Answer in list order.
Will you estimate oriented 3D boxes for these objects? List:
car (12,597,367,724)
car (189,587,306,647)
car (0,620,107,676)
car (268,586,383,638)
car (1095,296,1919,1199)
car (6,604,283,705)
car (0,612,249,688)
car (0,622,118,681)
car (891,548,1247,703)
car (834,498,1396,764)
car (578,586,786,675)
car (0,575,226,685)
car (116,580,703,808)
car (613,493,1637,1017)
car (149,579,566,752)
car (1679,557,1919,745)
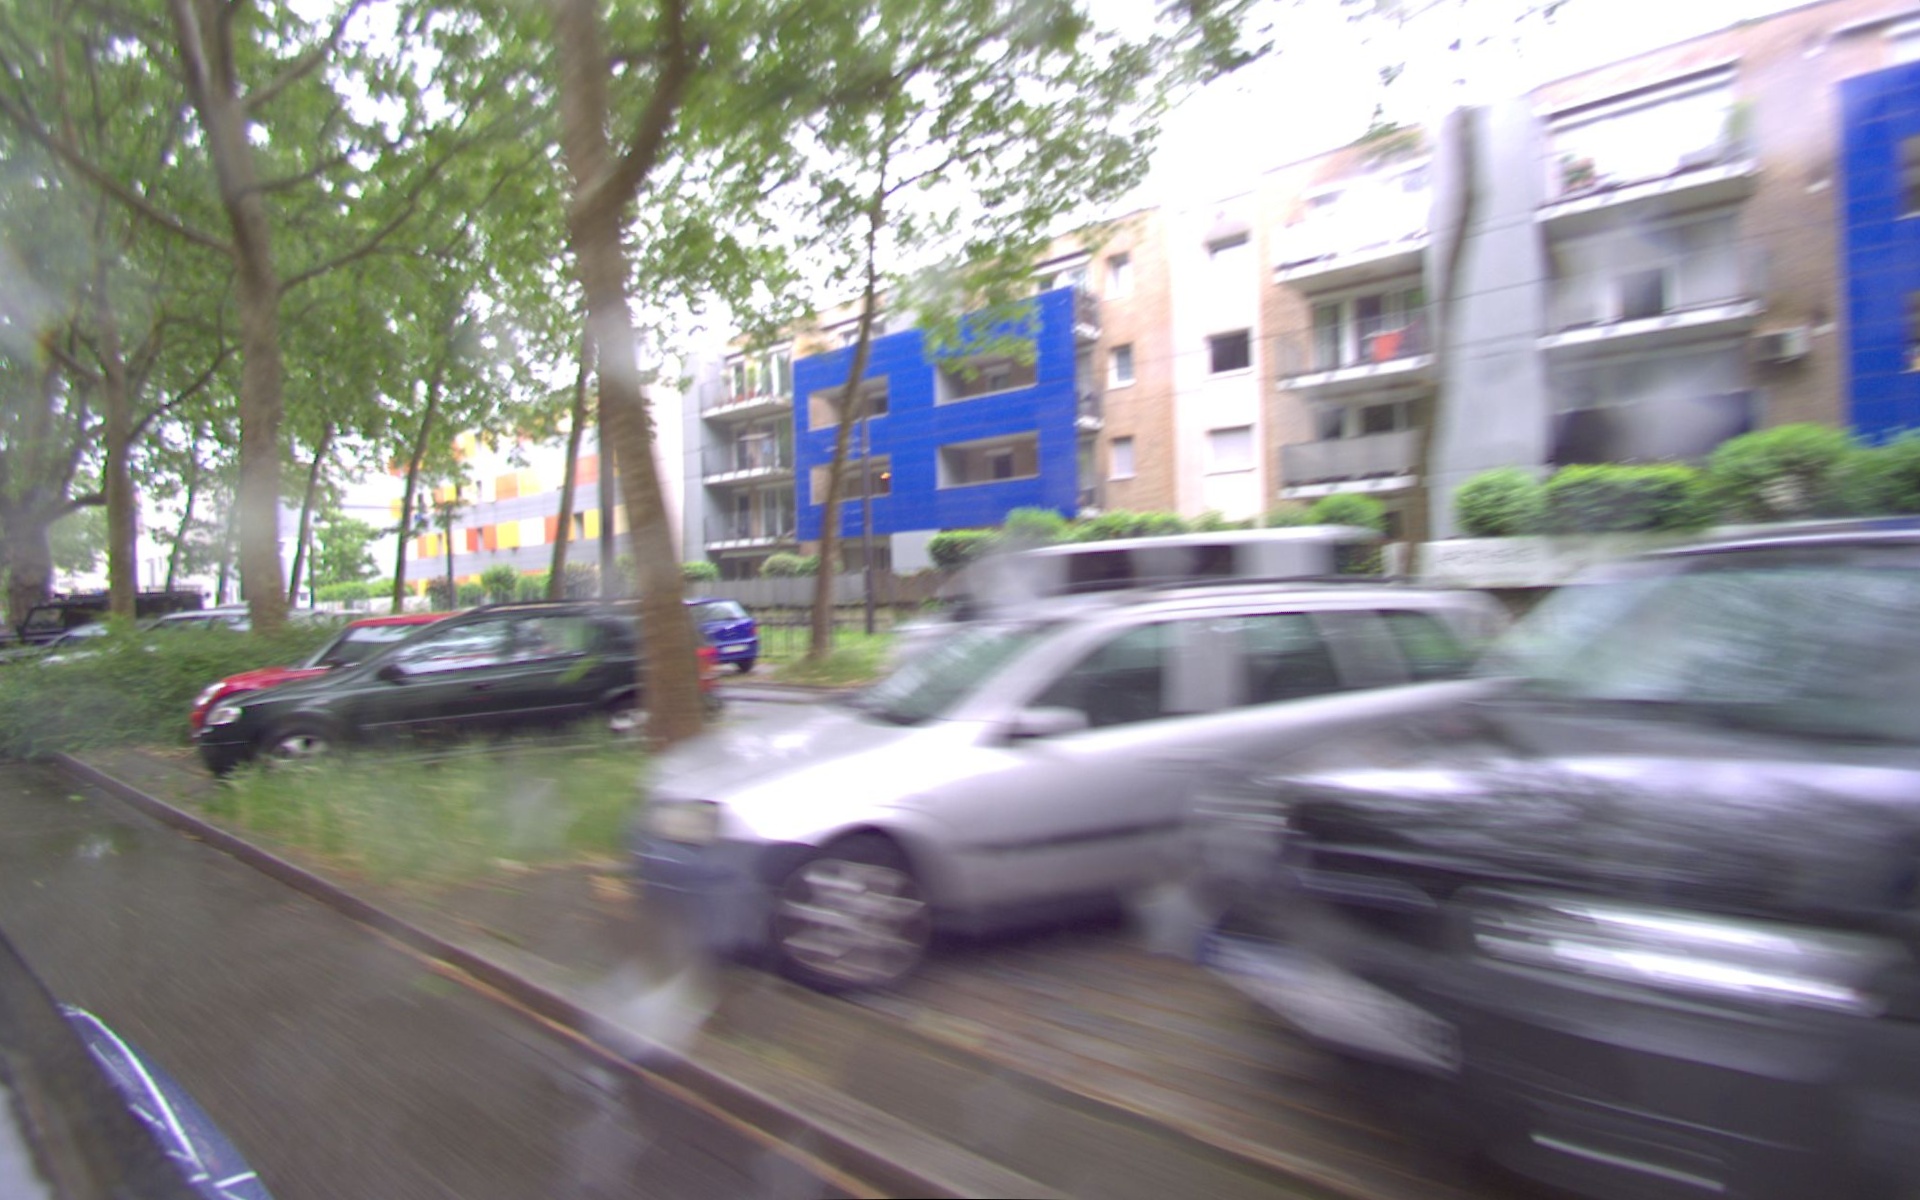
[{"bbox_3d":[-11.675,0.837,15.721,3.995,1.549,1.841,-3,1,-24],"label":"car"},{"bbox_3d":[-27.340,0.658,38.777,5.425,2.012,2.035,-1,3,37],"label":"car"},{"bbox_3d":[-27.289,1.389,28.999,3.976,1.445,1.787,-2,1,-24],"label":"car"},{"bbox_3d":[-20.672,0.395,32.893,4.211,1.545,1.885,-1,2,39],"label":"car"},{"bbox_3d":[2.789,0.420,2.816,4.342,1.672,1.936,-2,1,-21],"label":"car"},{"bbox_3d":[-13.846,0.863,17.446,3.451,1.478,1.647,-2,1,-29],"label":"car"},{"bbox_3d":[-17.888,1.018,21.182,4.579,1.335,1.853,-2,1,-22],"label":"car"},{"bbox_3d":[-25.367,1.405,27.464,3.443,1.447,1.787,-2,1,-22],"label":"car"},{"bbox_3d":[1.353,0.288,13.644,4.417,1.753,1.885,-1,2,39],"label":"car"},{"bbox_3d":[1.327,0.242,10.065,5.152,2.014,2.019,-1,2,38],"label":"car"},{"bbox_3d":[-5.610,0.573,20.200,4.211,1.545,1.885,-1,2,39],"label":"car"},{"bbox_3d":[-19.929,0.643,23.201,4.580,2.300,2.018,-2,1,-20],"label":"car"},{"bbox_3d":[-4.581,0.675,9.049,4.158,1.490,1.749,-3,1,-22],"label":"car"},{"bbox_3d":[0.677,0.472,4.763,4.342,1.658,1.878,0,0,-18],"label":"car"},{"bbox_3d":[-6.332,0.615,11.124,3.591,1.490,1.749,-3,1,-19],"label":"car"},{"bbox_3d":[8.280,0.336,7.919,4.251,1.399,1.975,-2,0,37],"label":"car"}]
